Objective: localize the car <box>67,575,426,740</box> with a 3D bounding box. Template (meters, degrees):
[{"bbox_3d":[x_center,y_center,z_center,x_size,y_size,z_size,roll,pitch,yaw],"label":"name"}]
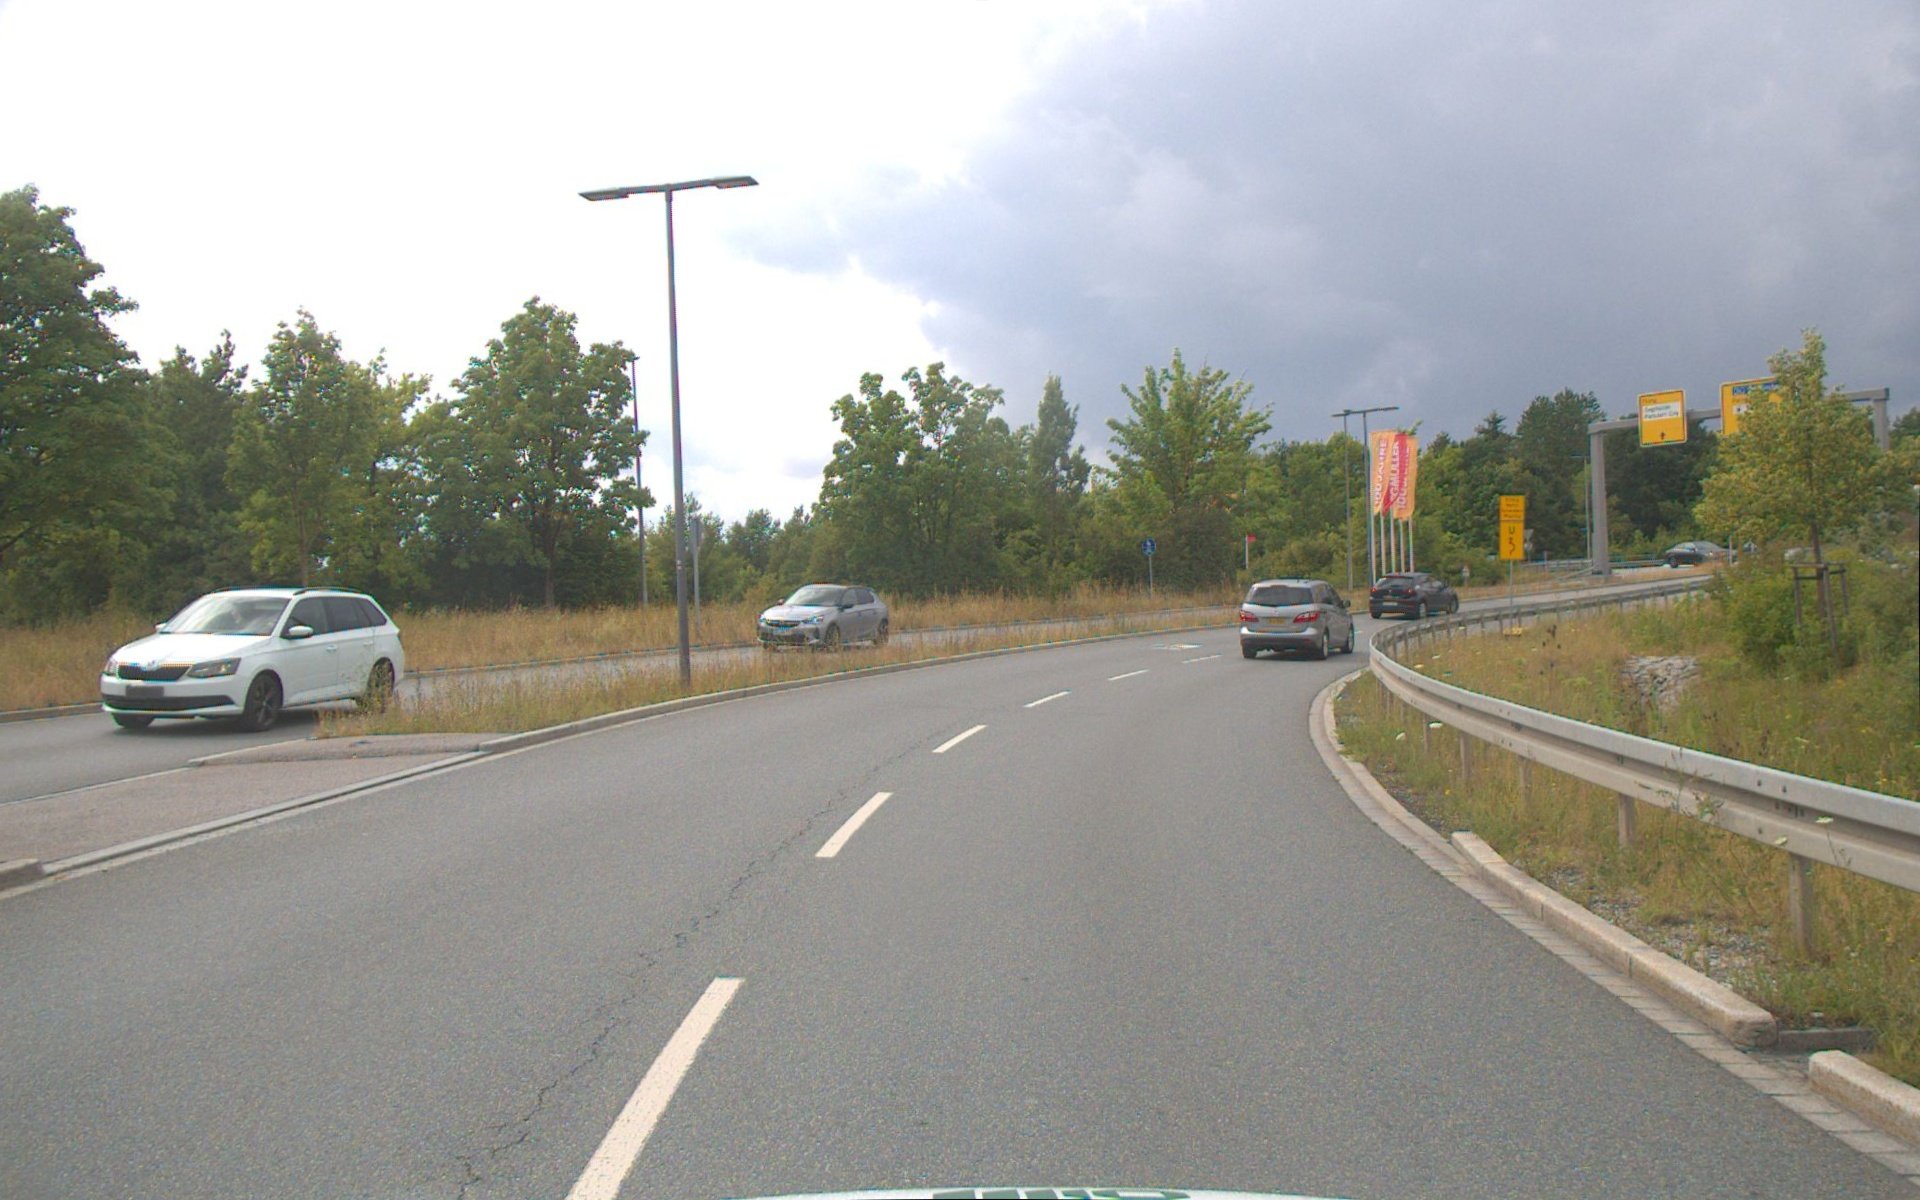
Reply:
[{"bbox_3d":[-7.933,0.574,18.888,1.678,1.663,4.271,0,0,10],"label":"car"}]

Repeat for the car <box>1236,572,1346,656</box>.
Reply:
[{"bbox_3d":[7.046,0.342,34.958,1.730,1.645,3.922,0,-2,19],"label":"car"}]

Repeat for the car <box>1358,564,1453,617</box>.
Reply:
[{"bbox_3d":[14.363,-0.305,53.256,1.836,1.633,3.723,-1,0,34],"label":"car"}]

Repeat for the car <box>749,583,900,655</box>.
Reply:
[{"bbox_3d":[-2.967,0.393,37.019,1.430,1.512,4.091,-1,0,27],"label":"car"}]
